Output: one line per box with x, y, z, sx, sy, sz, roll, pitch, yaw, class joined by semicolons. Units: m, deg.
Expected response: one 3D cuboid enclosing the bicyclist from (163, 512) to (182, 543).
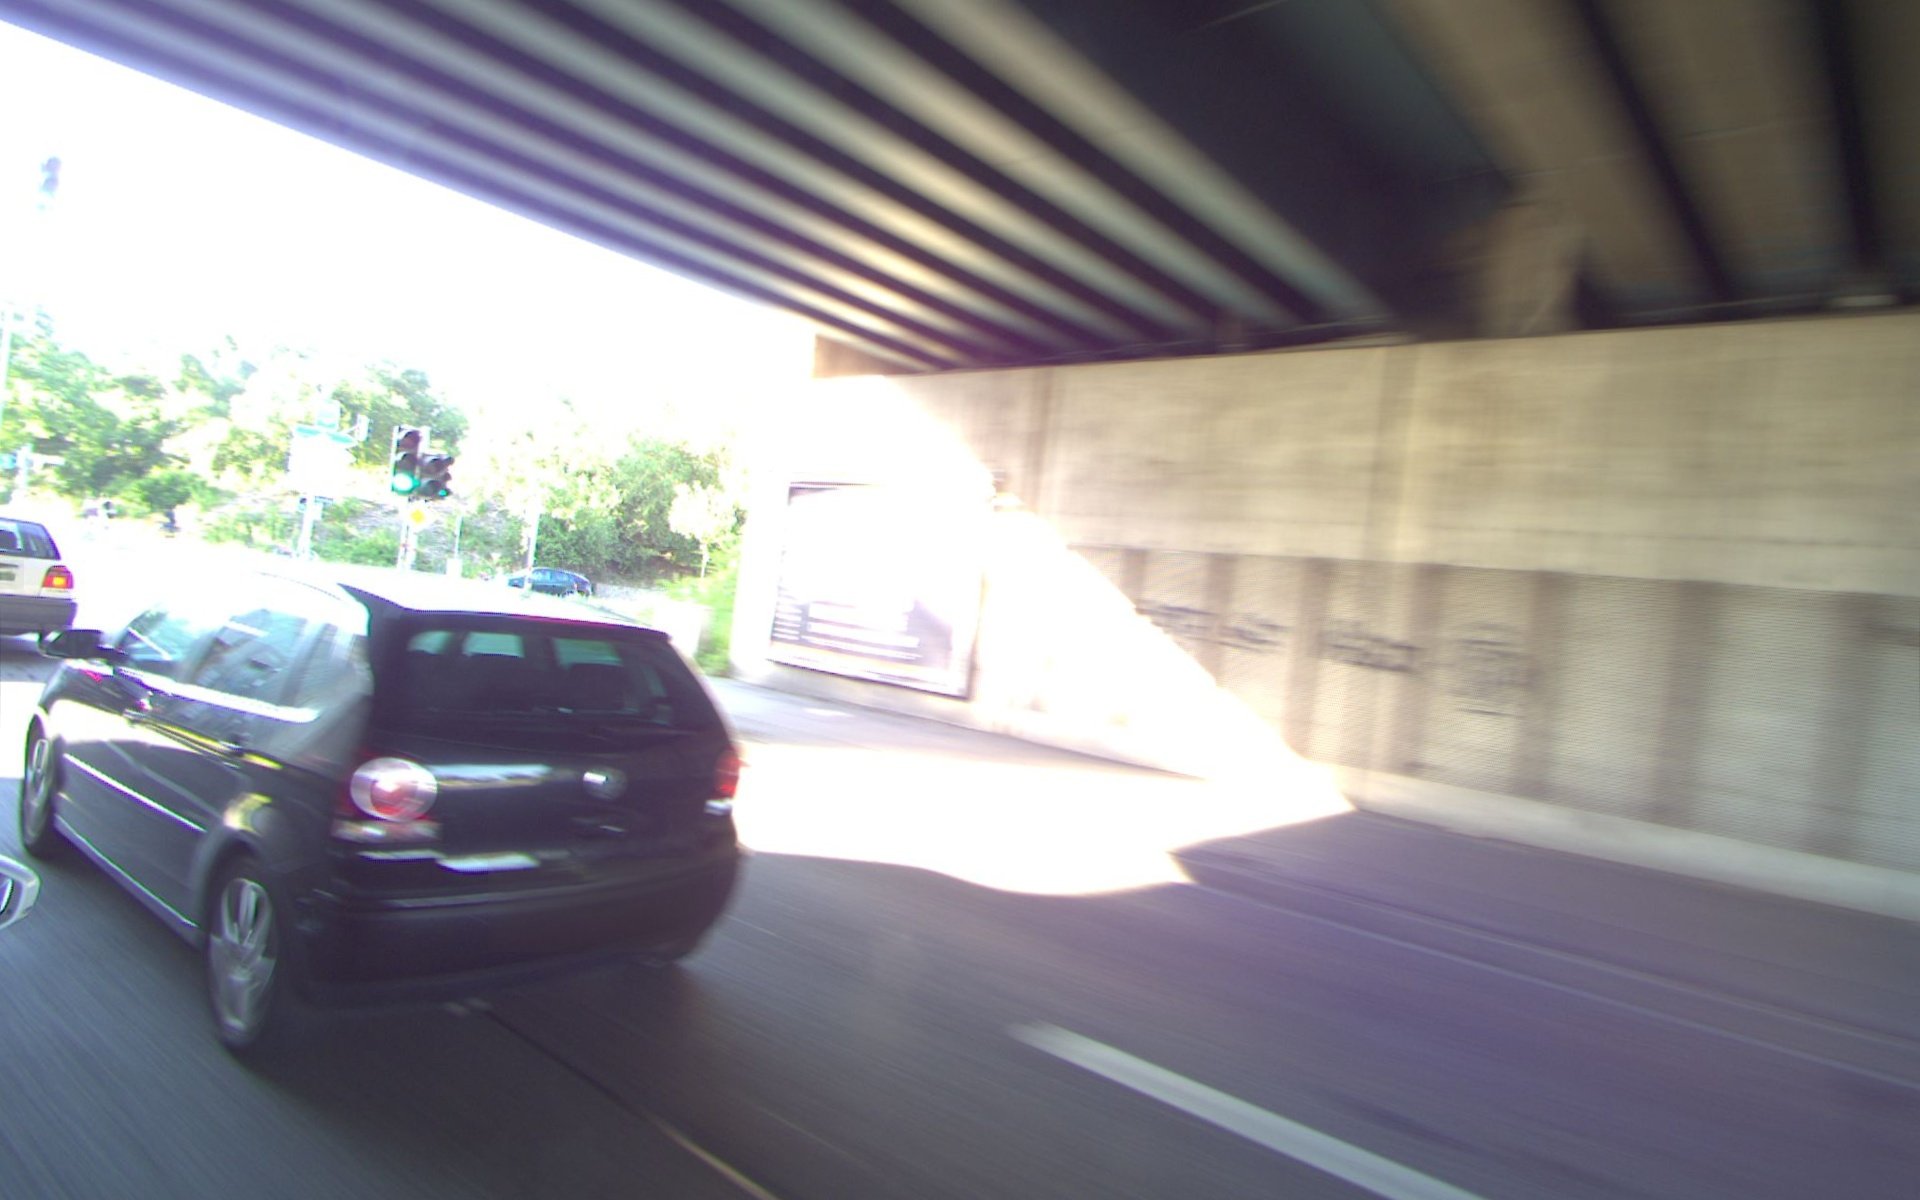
-35.728;-3.284;45.656;0.453;1.323;0.427;6;-2;39;bicyclist

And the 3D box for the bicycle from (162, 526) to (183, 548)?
-35.714;-2.853;45.596;1.012;0.924;0.437;6;-2;39;bicycle

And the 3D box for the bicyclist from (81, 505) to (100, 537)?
-35.965;-3.263;41.609;0.453;1.248;0.427;6;0;39;bicyclist

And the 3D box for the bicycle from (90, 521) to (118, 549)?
-38.550;-2.935;45.315;1.598;1.125;0.565;6;-3;39;bicycle

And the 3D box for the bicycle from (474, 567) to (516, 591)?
-24.400;-1.094;52.822;1.784;0.991;0.632;10;-1;-38;bicycle

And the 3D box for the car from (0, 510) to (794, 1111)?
-2.597;0.510;4.254;3.630;1.425;1.617;5;-3;39;car

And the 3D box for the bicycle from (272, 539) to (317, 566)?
-31.068;-2.199;46.964;1.652;1.004;0.572;7;2;-35;bicycle

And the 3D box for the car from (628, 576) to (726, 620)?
-14.563;-0.088;51.919;2.015;1.585;4.322;5;-4;44;car

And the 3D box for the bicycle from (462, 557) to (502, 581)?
-25.595;-1.657;53.885;1.784;0.991;0.633;10;-3;-38;bicycle

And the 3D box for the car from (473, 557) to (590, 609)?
-18.092;-0.686;42.560;1.975;1.547;3.981;5;-4;44;car

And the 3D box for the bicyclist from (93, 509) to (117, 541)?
-38.557;-3.403;45.357;0.823;1.331;0.544;6;-2;39;bicyclist

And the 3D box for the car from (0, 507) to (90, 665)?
-10.694;-0.322;10.489;4.002;1.429;1.580;6;-3;38;car

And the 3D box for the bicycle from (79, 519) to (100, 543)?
-35.923;-2.850;41.532;1.012;0.926;0.437;6;0;39;bicycle

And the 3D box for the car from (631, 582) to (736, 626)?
-13.178;0.227;48.061;2.015;1.423;4.322;5;-4;44;car

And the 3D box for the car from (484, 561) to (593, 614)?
-18.771;-0.544;44.904;1.839;1.712;3.981;5;-4;44;car
